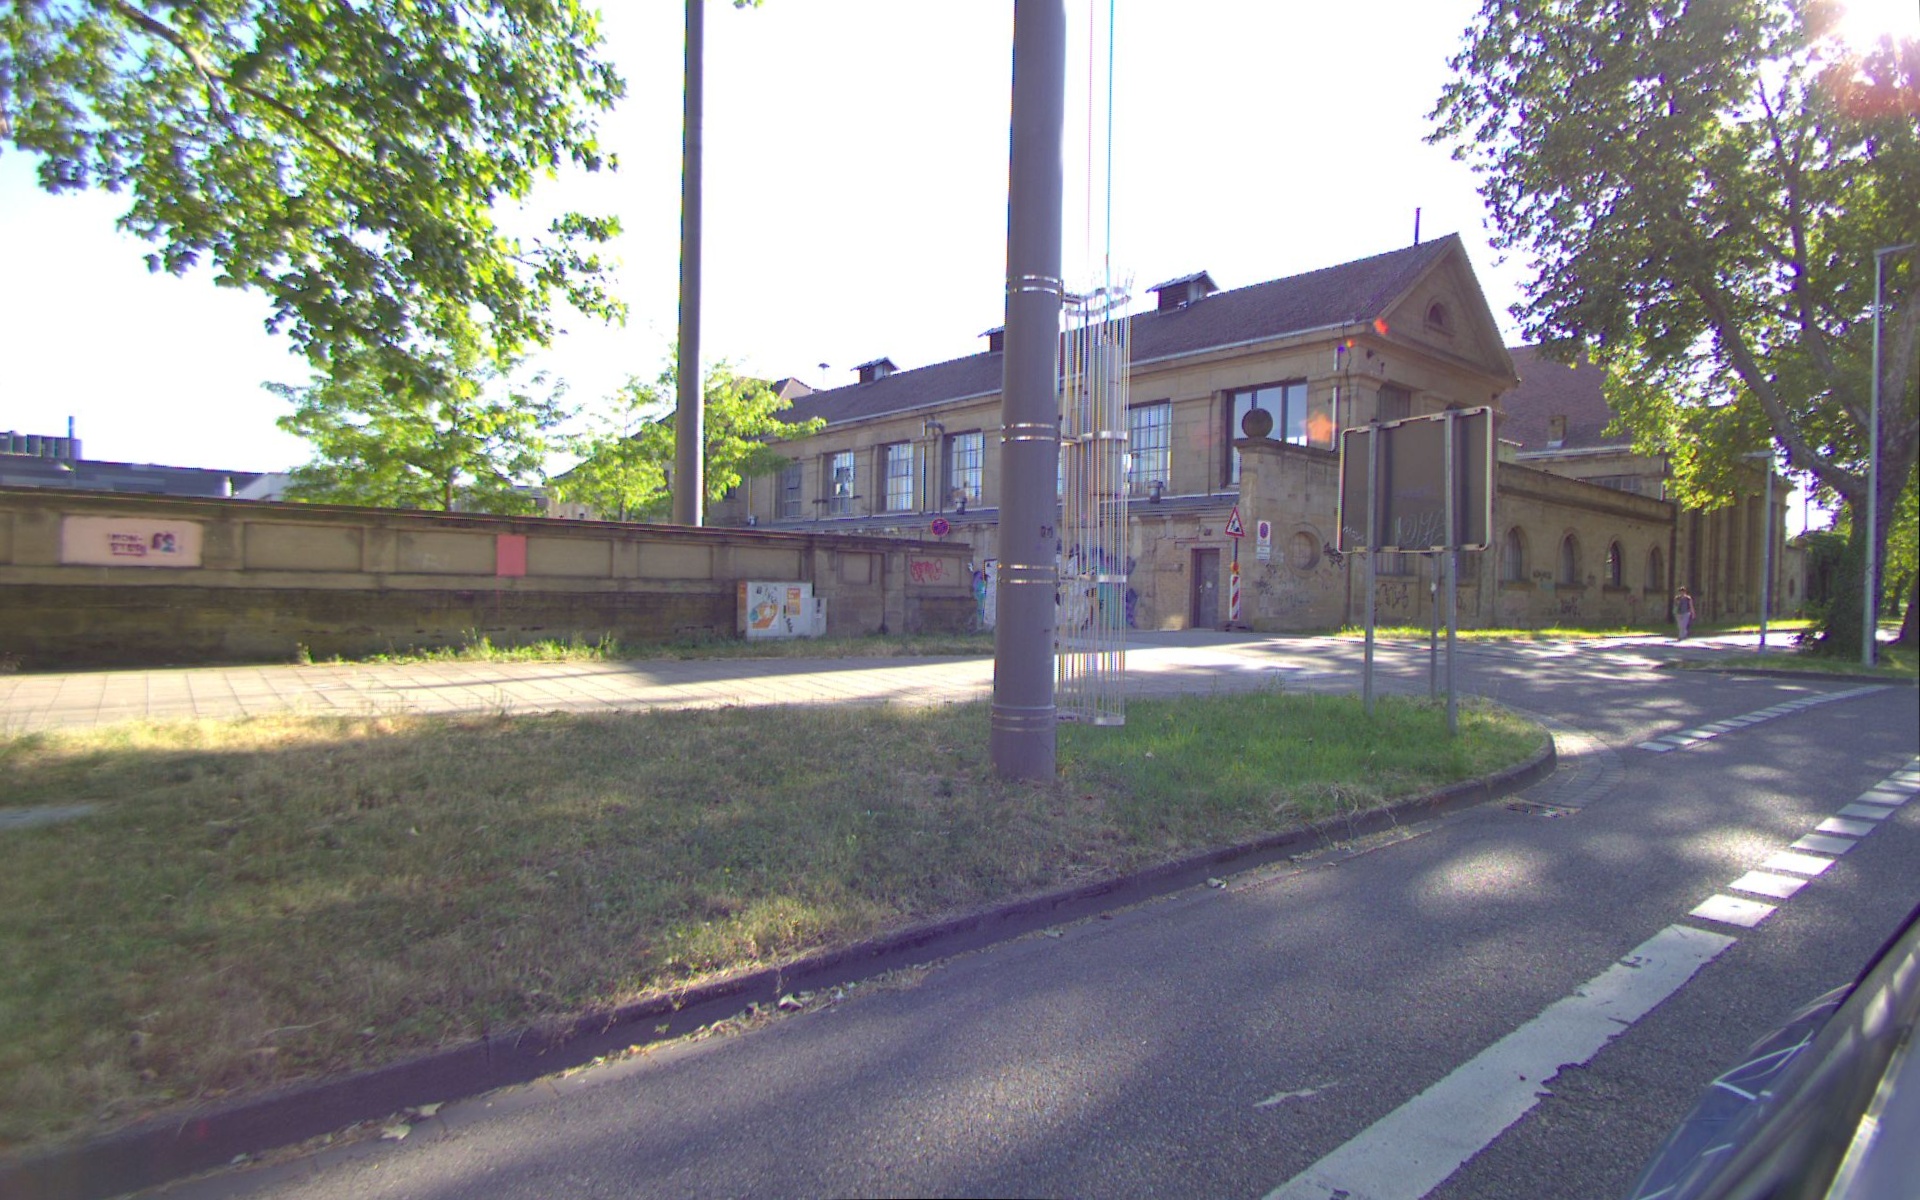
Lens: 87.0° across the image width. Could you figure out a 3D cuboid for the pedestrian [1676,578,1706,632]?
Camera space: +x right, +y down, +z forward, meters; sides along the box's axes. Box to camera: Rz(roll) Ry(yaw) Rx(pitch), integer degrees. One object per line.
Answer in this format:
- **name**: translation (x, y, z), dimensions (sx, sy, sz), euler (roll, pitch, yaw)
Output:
- **pedestrian**: translation (23.367, 0.141, 32.345), dimensions (0.669, 1.682, 0.862), euler (3, 2, 38)
